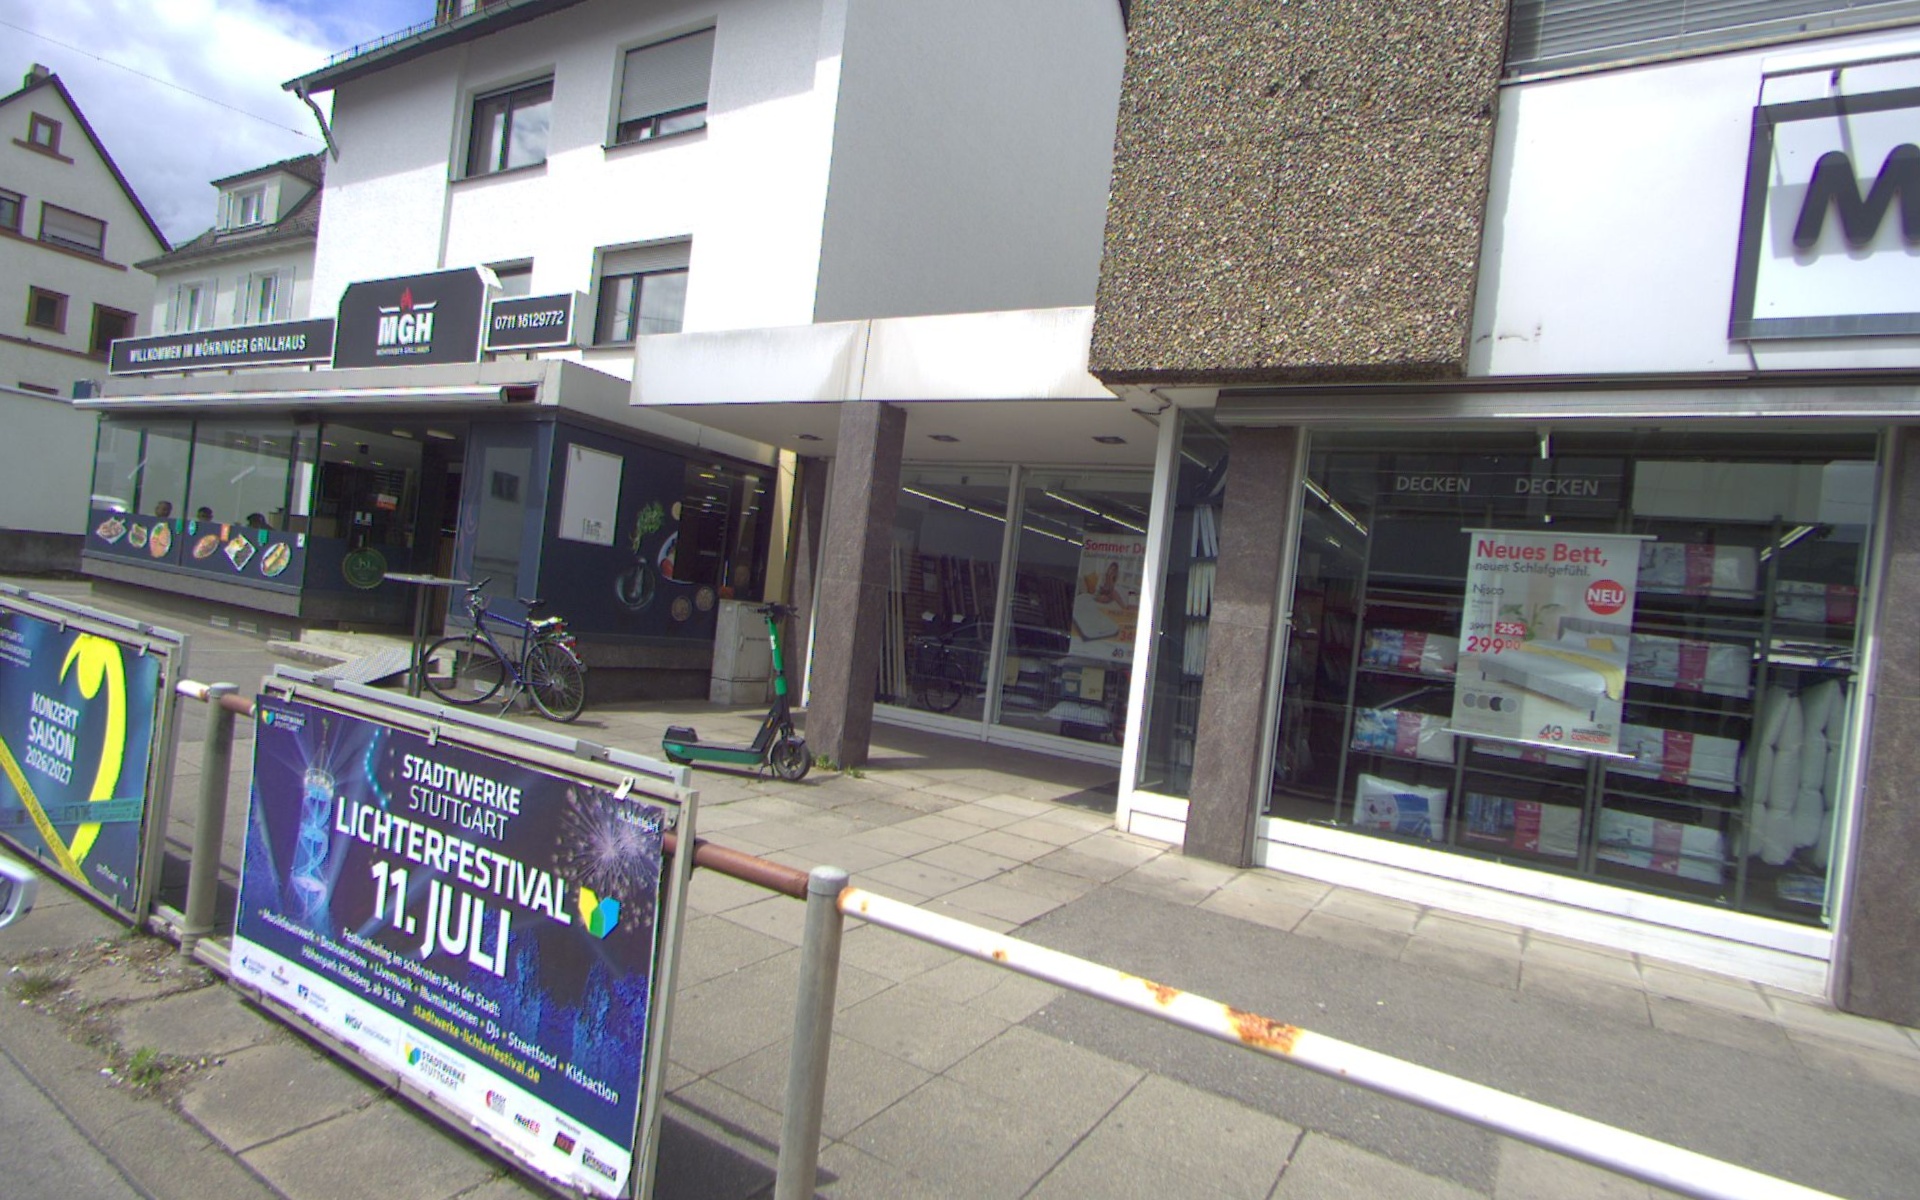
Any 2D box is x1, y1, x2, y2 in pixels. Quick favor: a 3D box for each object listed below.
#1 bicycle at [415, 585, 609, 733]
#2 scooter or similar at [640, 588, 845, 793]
[{"bbox_3d":[-3.884,0.486,8.704,1.606,1.041,0.476,7,1,22],"label":"bicycle"},{"bbox_3d":[-1.580,0.630,7.352,1.163,1.283,0.689,6,1,19],"label":"scooter or similar"}]
